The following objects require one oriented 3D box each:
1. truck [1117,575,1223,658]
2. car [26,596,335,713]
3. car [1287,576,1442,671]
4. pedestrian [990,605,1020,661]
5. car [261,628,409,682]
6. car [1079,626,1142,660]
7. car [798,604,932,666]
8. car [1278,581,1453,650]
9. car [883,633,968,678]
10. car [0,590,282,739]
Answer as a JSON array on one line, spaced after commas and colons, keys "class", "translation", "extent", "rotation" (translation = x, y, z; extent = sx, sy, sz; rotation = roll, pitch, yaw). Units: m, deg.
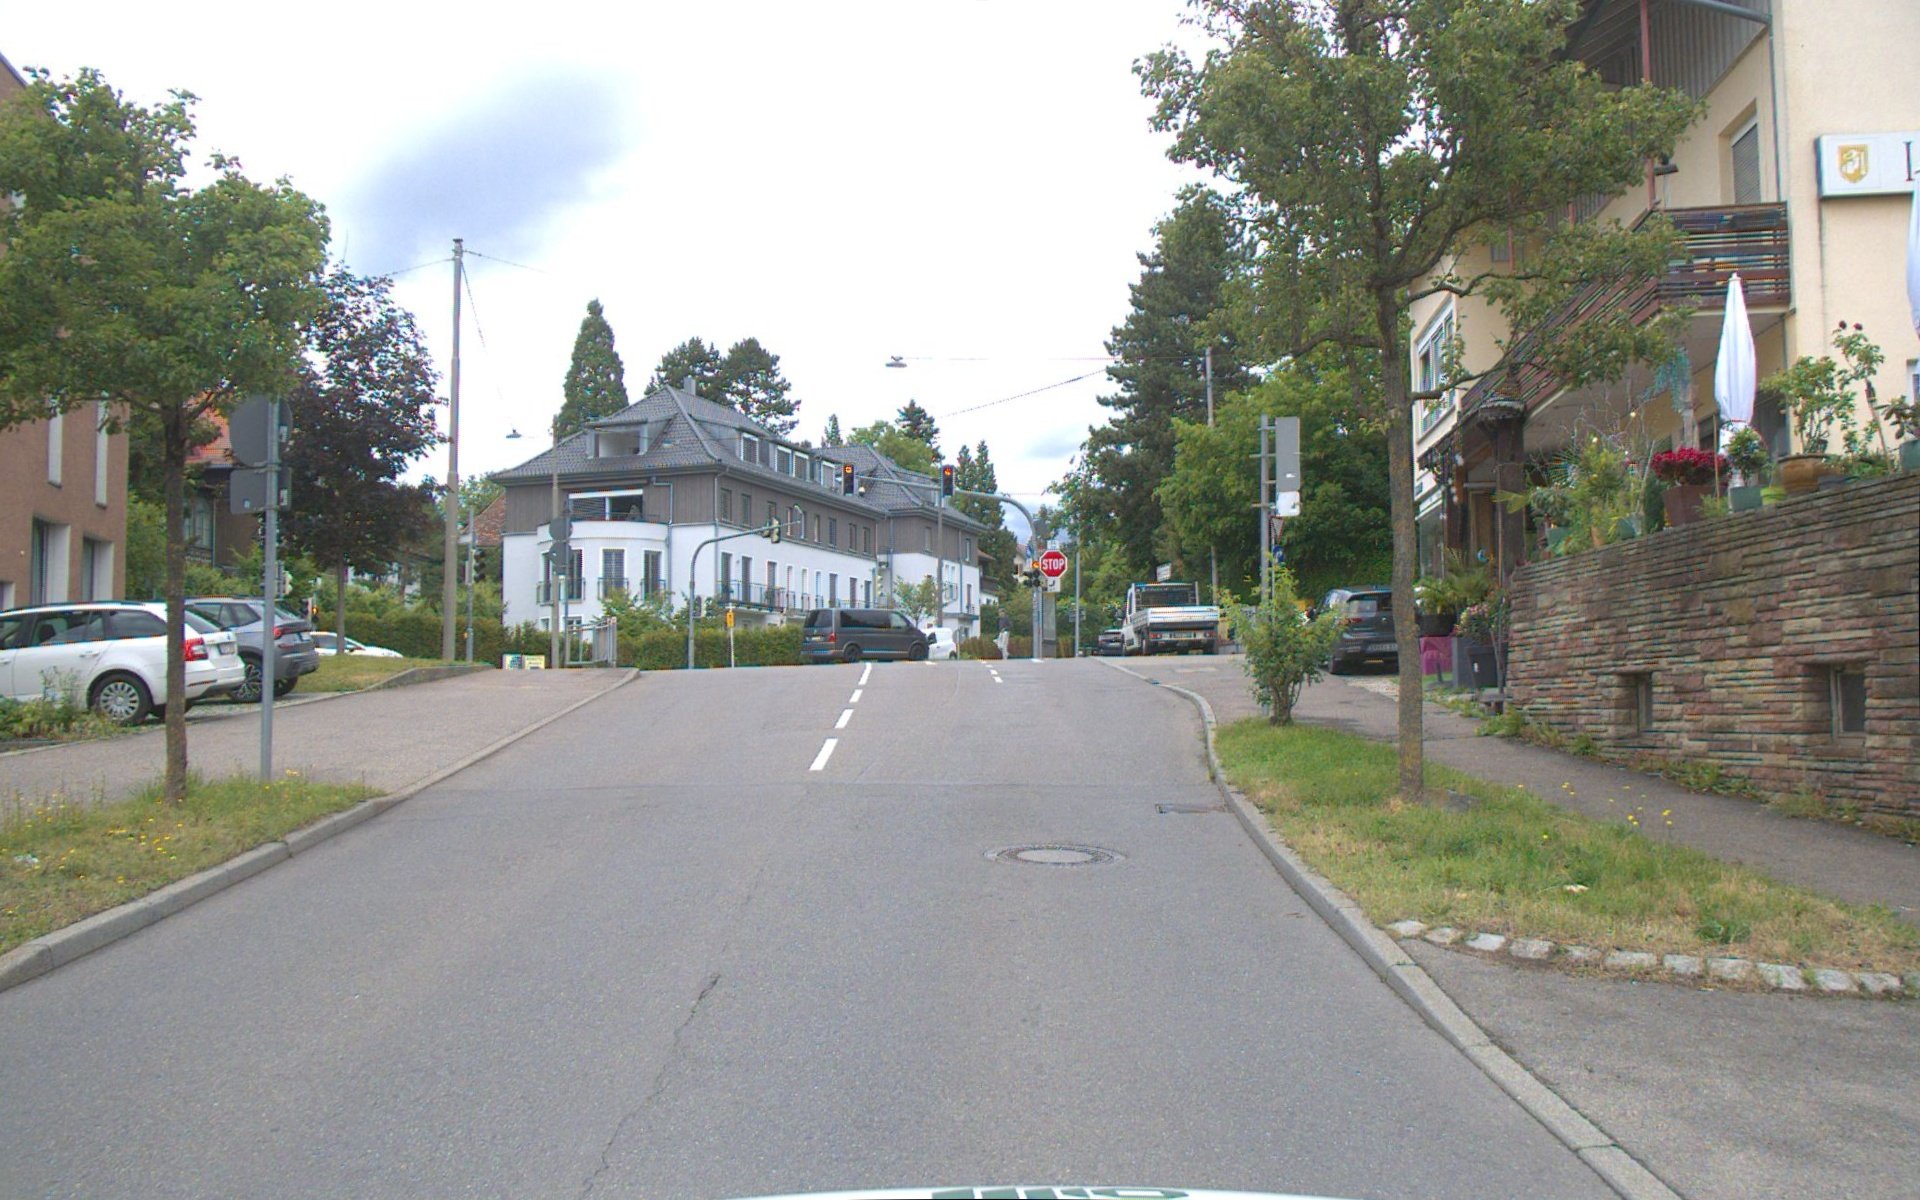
[{"class": "truck", "translation": [6.189, 0.556, 49.498], "extent": [2.140, 2.234, 5.877], "rotation": [-1, -3, -3]}, {"class": "car", "translation": [-11.336, 0.757, 24.271], "extent": [3.689, 1.489, 1.729], "rotation": [-2, 1, -8]}, {"class": "car", "translation": [7.222, 0.411, 29.939], "extent": [1.810, 1.498, 4.387], "rotation": [-3, 0, 2]}, {"class": "pedestrian", "translation": [1.403, 1.004, 51.332], "extent": [0.689, 1.711, 0.681], "rotation": [-1, 0, -24]}, {"class": "car", "translation": [-18.019, 1.555, 47.782], "extent": [3.930, 1.407, 1.925], "rotation": [0, 1, -22]}, {"class": "car", "translation": [7.430, 2.083, 81.068], "extent": [2.109, 1.517, 4.715], "rotation": [-1, 0, 18]}, {"class": "car", "translation": [-3.233, 1.235, 56.871], "extent": [1.965, 2.049, 4.479], "rotation": [-1, -2, 43]}, {"class": "car", "translation": [10.491, 0.435, 42.768], "extent": [4.152, 1.622, 1.988], "rotation": [-2, -4, 21]}, {"class": "car", "translation": [-1.535, 2.497, 75.880], "extent": [1.956, 1.889, 4.345], "rotation": [0, 0, 30]}, {"class": "car", "translation": [-10.789, 0.794, 20.212], "extent": [4.177, 1.651, 2.011], "rotation": [-2, -1, -5]}]
